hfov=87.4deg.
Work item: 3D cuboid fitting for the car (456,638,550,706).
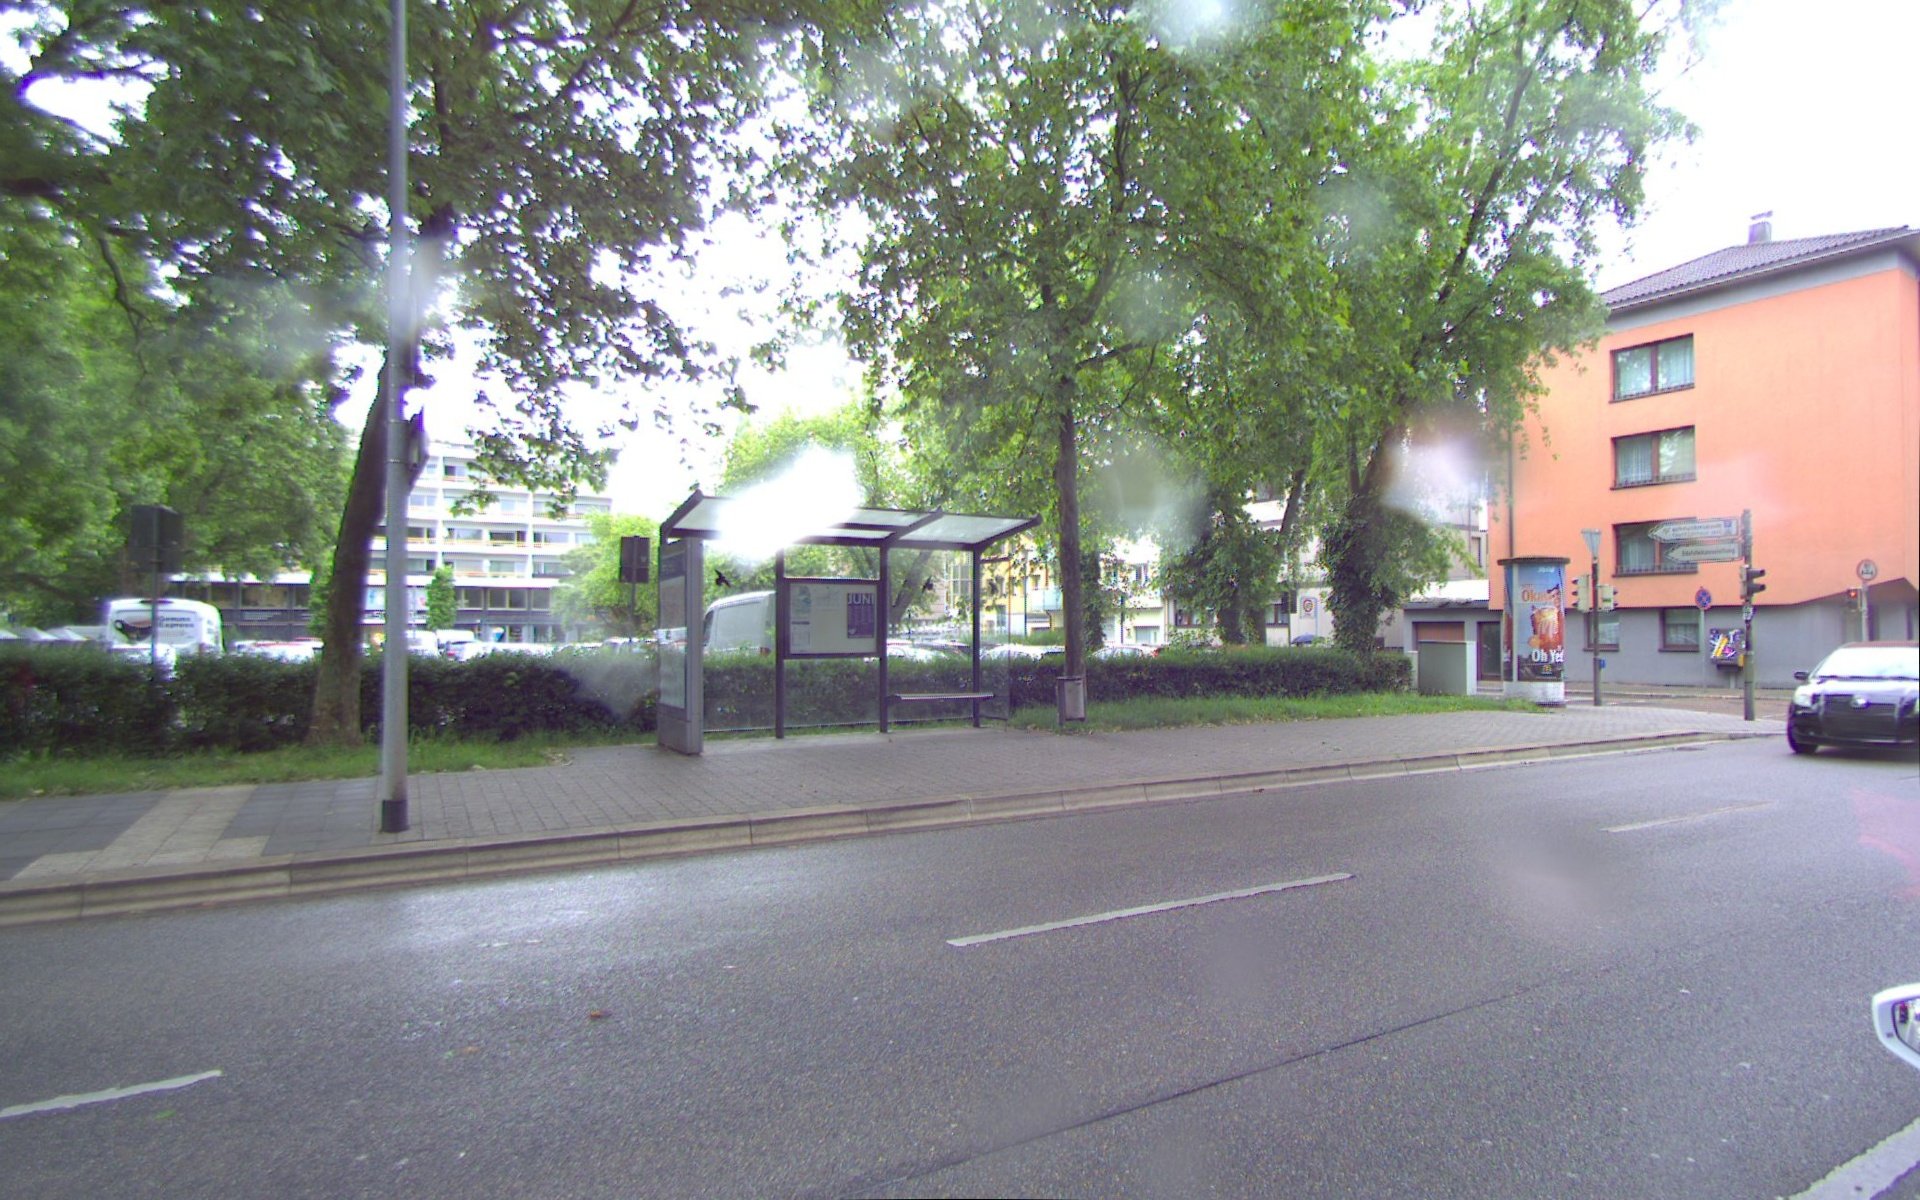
[{"bbox_3d":[-12.539,1.892,27.408,1.876,1.506,3.966,2,0,-31],"label":"car"}]

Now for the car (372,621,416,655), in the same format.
[{"bbox_3d":[-32.503,2.151,57.611,2.075,1.745,3.966,2,0,-31],"label":"car"}]

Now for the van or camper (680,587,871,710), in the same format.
[{"bbox_3d":[-3.543,0.861,18.567,1.978,1.975,4.572,1,-2,-31],"label":"van or camper"}]

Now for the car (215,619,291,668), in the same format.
[{"bbox_3d":[-25.078,1.517,35.737,1.876,1.506,3.966,2,0,-31],"label":"car"}]

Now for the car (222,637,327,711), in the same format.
[{"bbox_3d":[-16.882,1.760,24.898,1.876,1.506,3.966,2,0,-31],"label":"car"}]

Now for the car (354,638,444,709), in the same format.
[{"bbox_3d":[-14.633,1.828,26.115,1.876,1.506,3.966,2,0,-31],"label":"car"}]

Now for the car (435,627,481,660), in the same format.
[{"bbox_3d":[-26.993,2.316,53.940,1.876,1.506,3.966,2,0,-31],"label":"car"}]

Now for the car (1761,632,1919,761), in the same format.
[{"bbox_3d":[12.795,1.238,13.832,3.830,1.553,1.784,2,-3,-36],"label":"car"}]

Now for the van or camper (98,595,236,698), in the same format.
[{"bbox_3d":[-20.710,1.206,26.452,2.073,2.463,4.310,1,-2,-28],"label":"van or camper"}]

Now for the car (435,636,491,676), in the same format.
[{"bbox_3d":[-22.135,2.459,44.686,1.876,1.506,3.966,2,0,-31],"label":"car"}]
